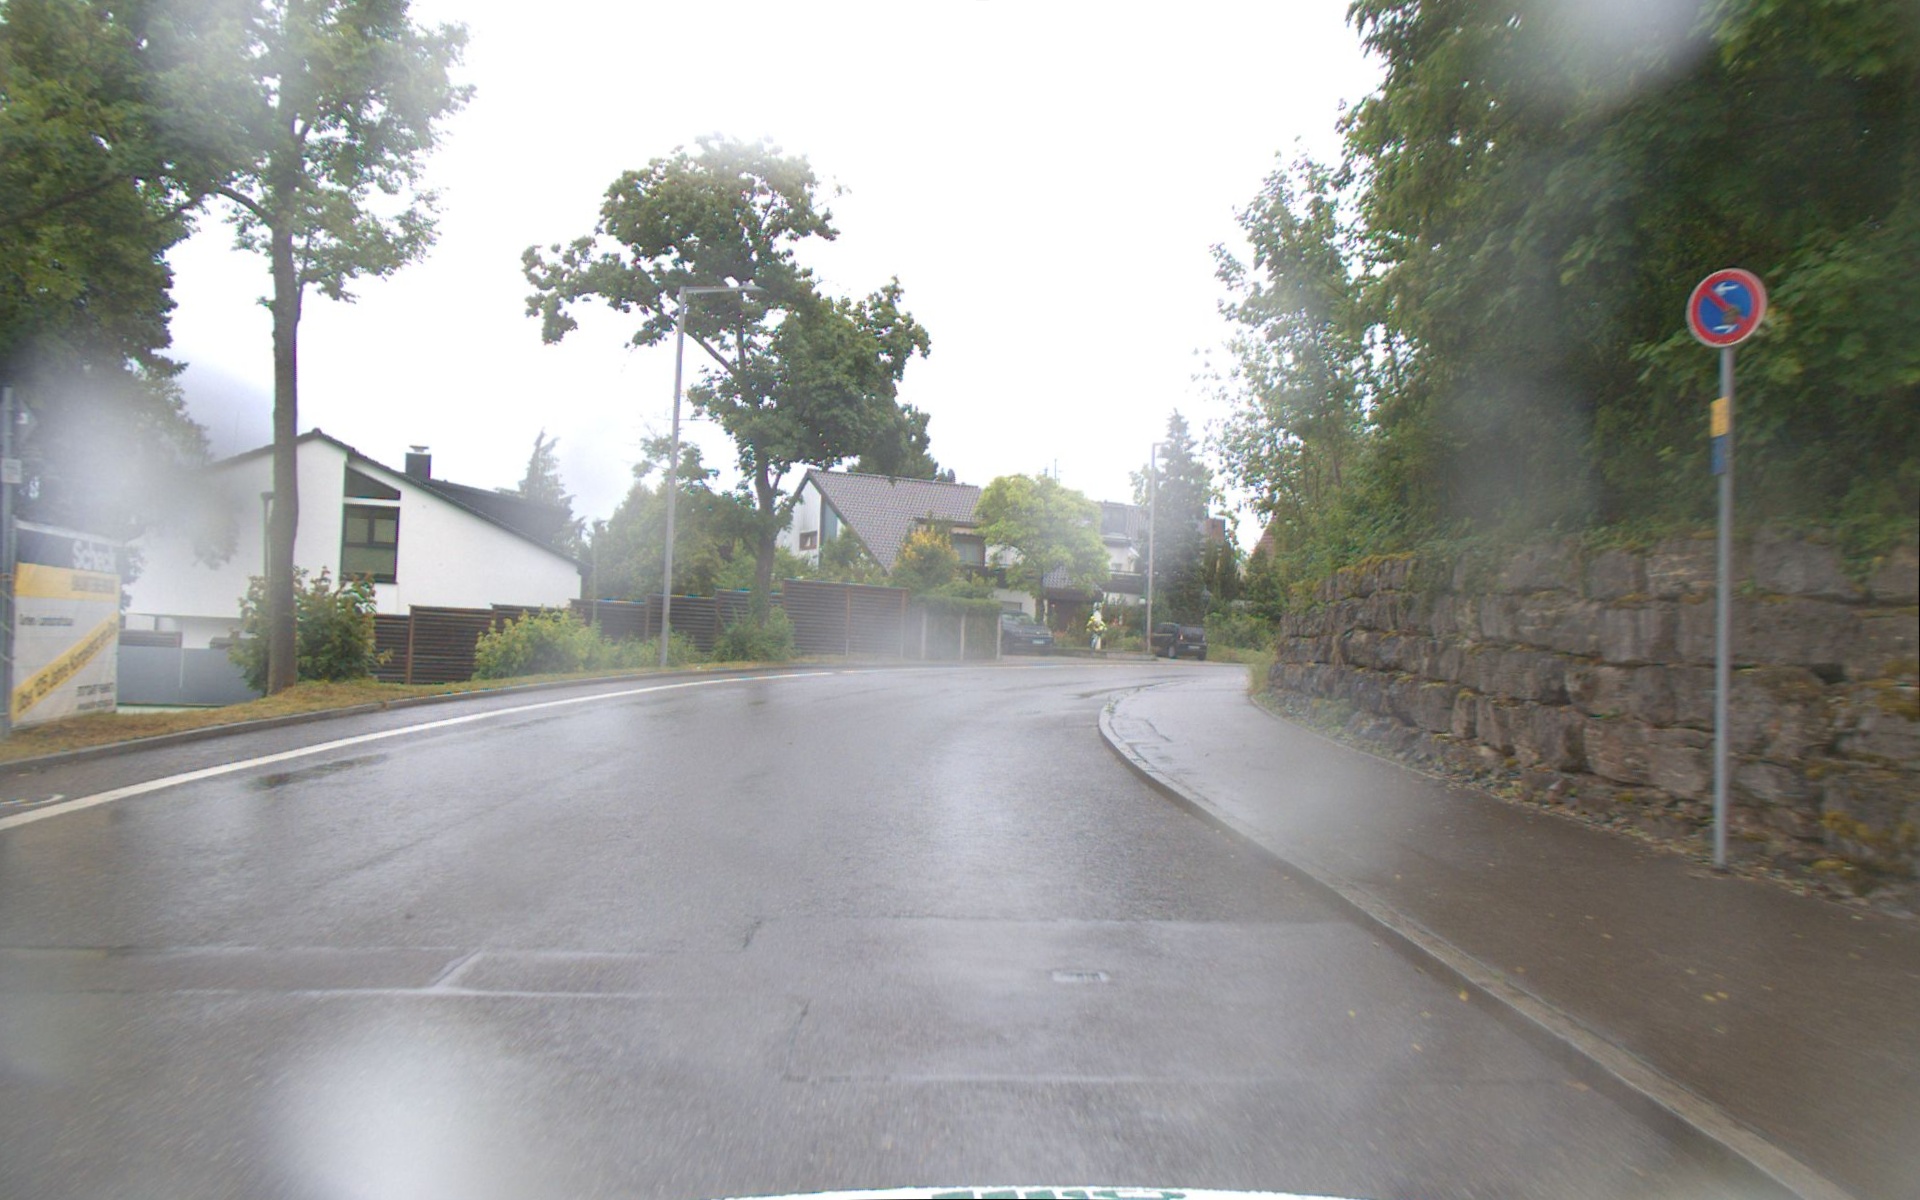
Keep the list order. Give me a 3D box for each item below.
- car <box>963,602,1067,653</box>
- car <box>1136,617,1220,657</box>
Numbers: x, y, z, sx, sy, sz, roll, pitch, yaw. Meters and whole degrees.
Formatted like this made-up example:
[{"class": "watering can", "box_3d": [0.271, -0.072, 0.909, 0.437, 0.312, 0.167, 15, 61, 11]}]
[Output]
[{"class": "car", "box_3d": [2.053, 1.029, 62.758, 1.989, 1.660, 3.956, 4, 0, -33]}, {"class": "car", "box_3d": [9.168, 1.537, 69.908, 1.905, 1.413, 3.978, 4, -1, -19]}]
